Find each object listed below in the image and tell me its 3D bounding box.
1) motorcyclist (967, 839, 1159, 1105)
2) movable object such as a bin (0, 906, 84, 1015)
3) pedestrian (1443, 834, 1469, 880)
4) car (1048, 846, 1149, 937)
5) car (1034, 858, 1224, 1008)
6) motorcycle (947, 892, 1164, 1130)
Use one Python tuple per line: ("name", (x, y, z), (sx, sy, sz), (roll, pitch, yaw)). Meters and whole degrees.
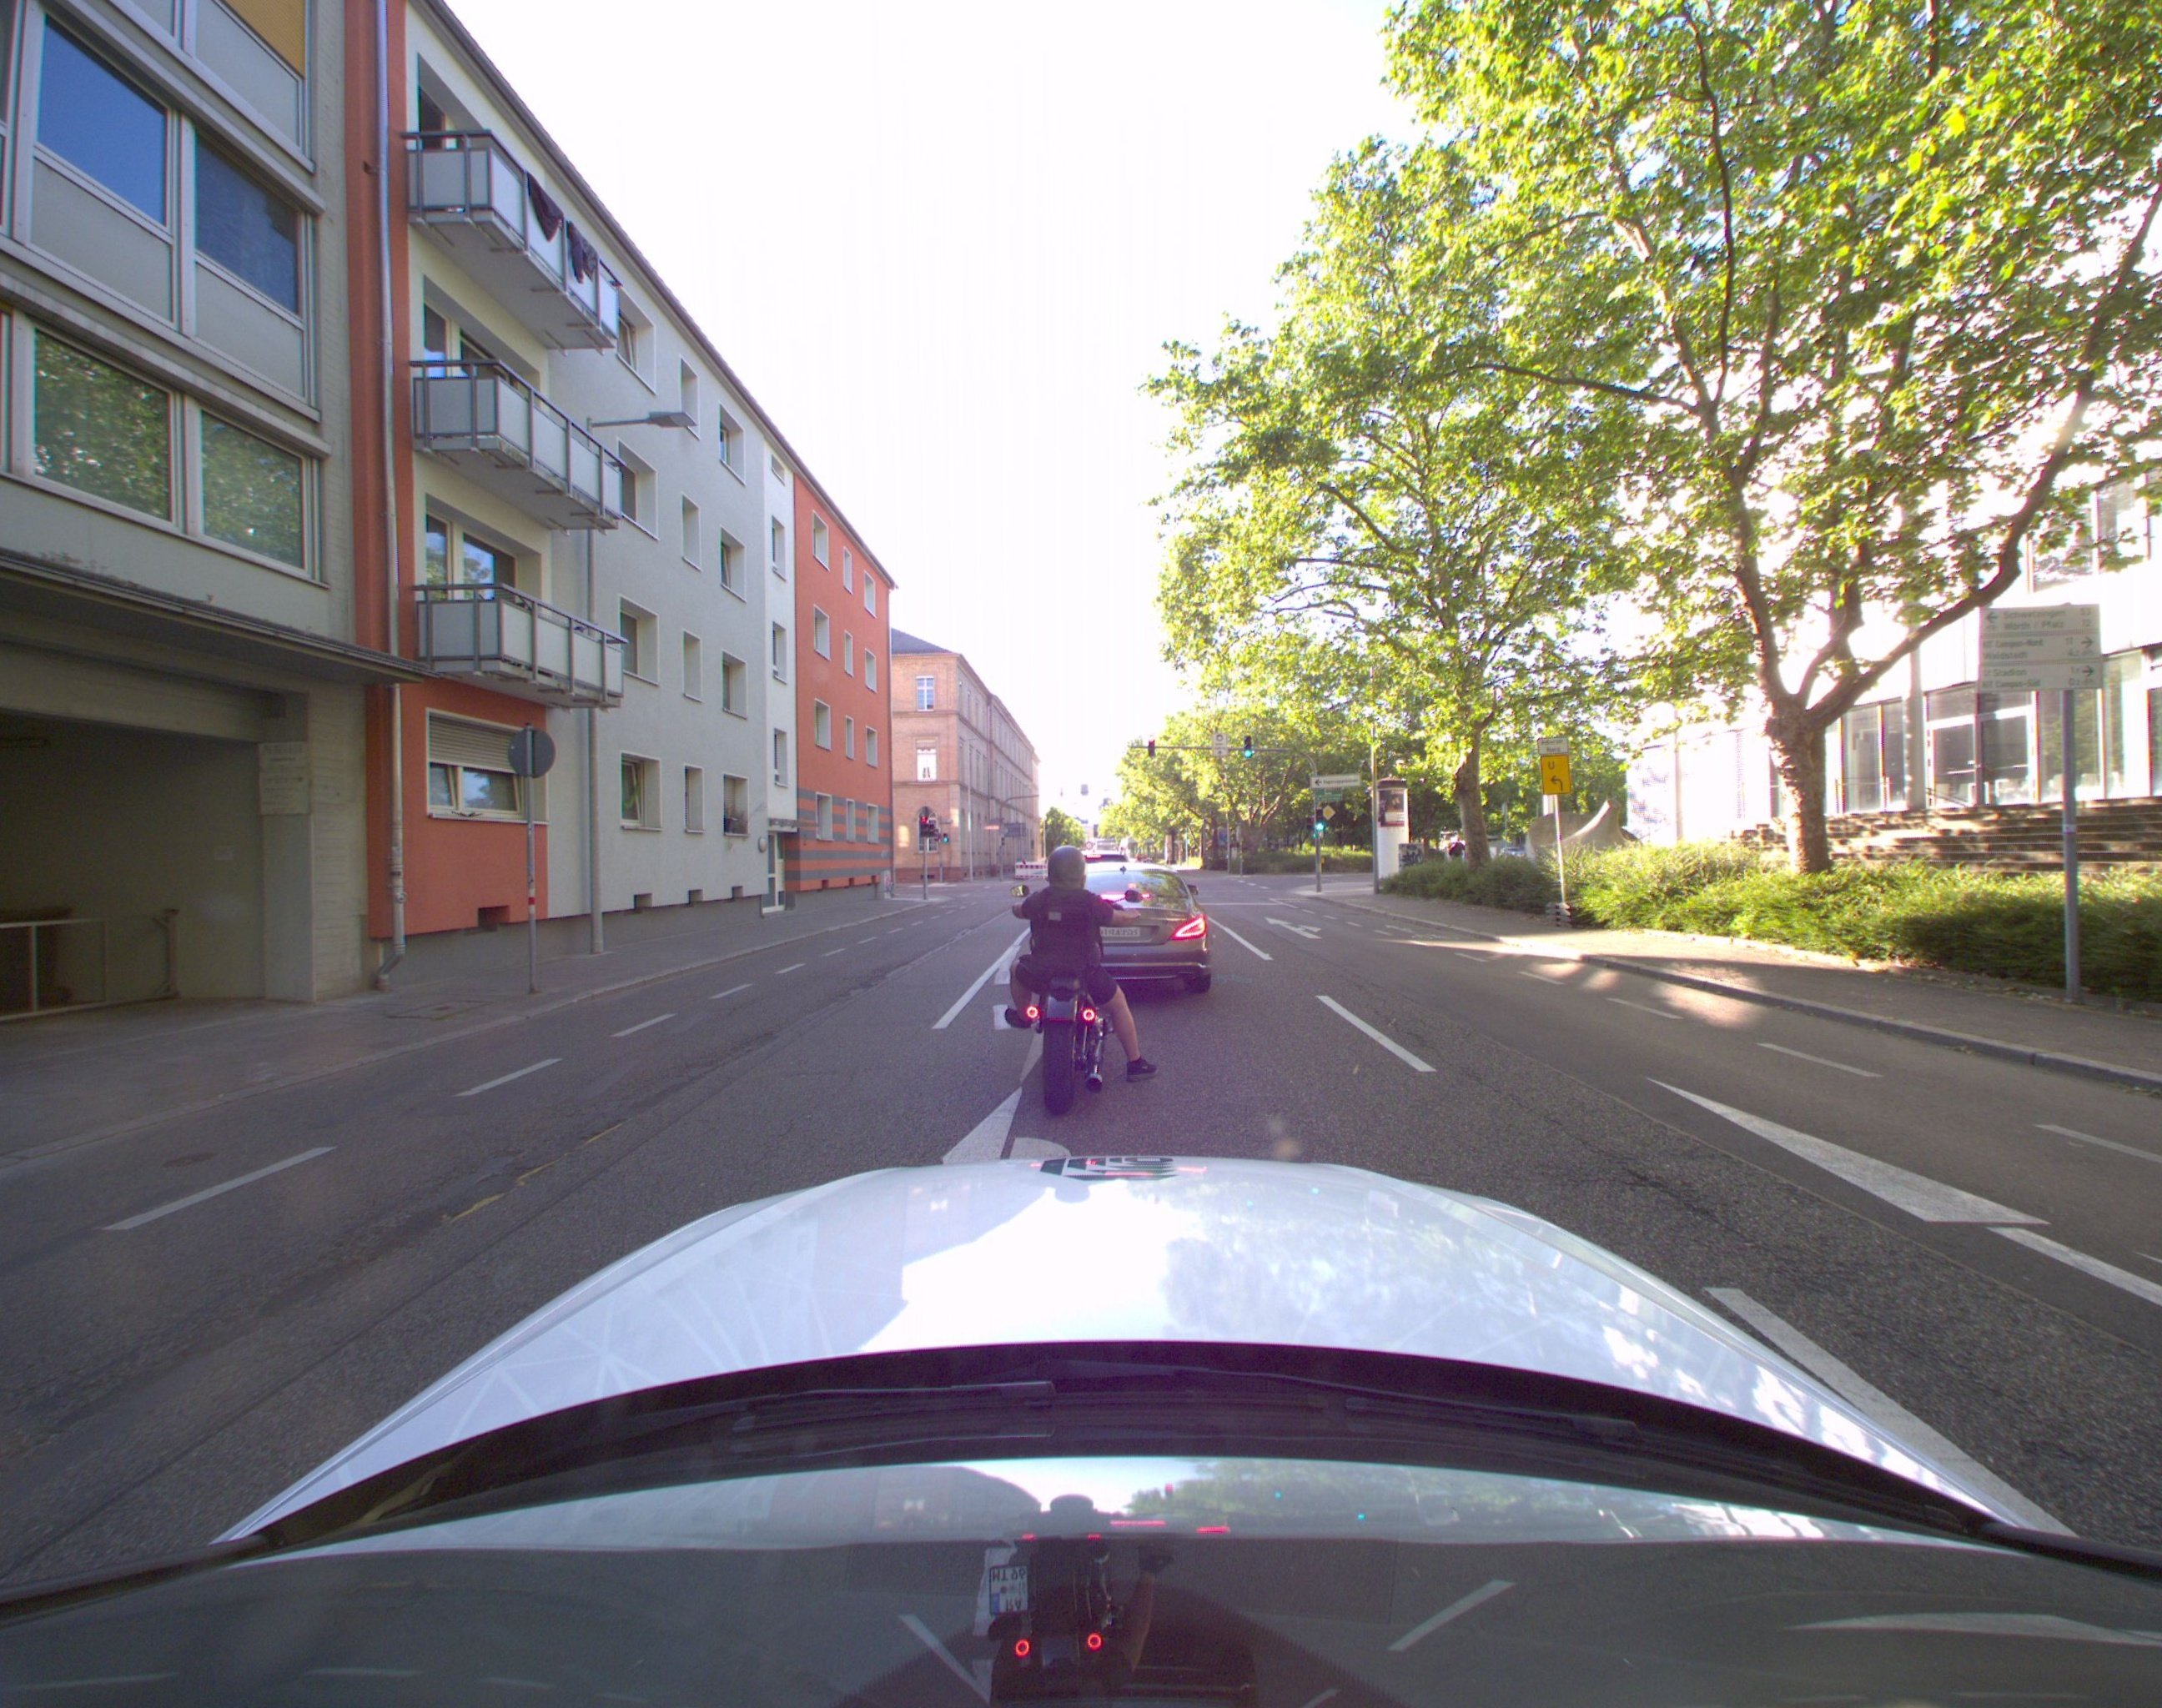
("motorcyclist", (-0.068, 0.700, 5.387), (1.093, 1.566, 1.074), (0, -1, 8))
("movable object such as a bin", (-11.283, 1.112, 8.629), (0.533, 1.079, 0.723), (0, -1, 3))
("pedestrian", (14.732, 0.137, 32.002), (0.731, 1.778, 0.731), (-1, -1, 10))
("car", (0.381, 0.707, 17.051), (1.856, 1.678, 4.001), (0, -1, 2))
("car", (0.521, 0.775, 9.762), (1.815, 1.437, 3.807), (0, -1, 2))
("motorcycle", (-0.040, 0.908, 5.605), (1.111, 1.207, 2.217), (0, -1, 8))
